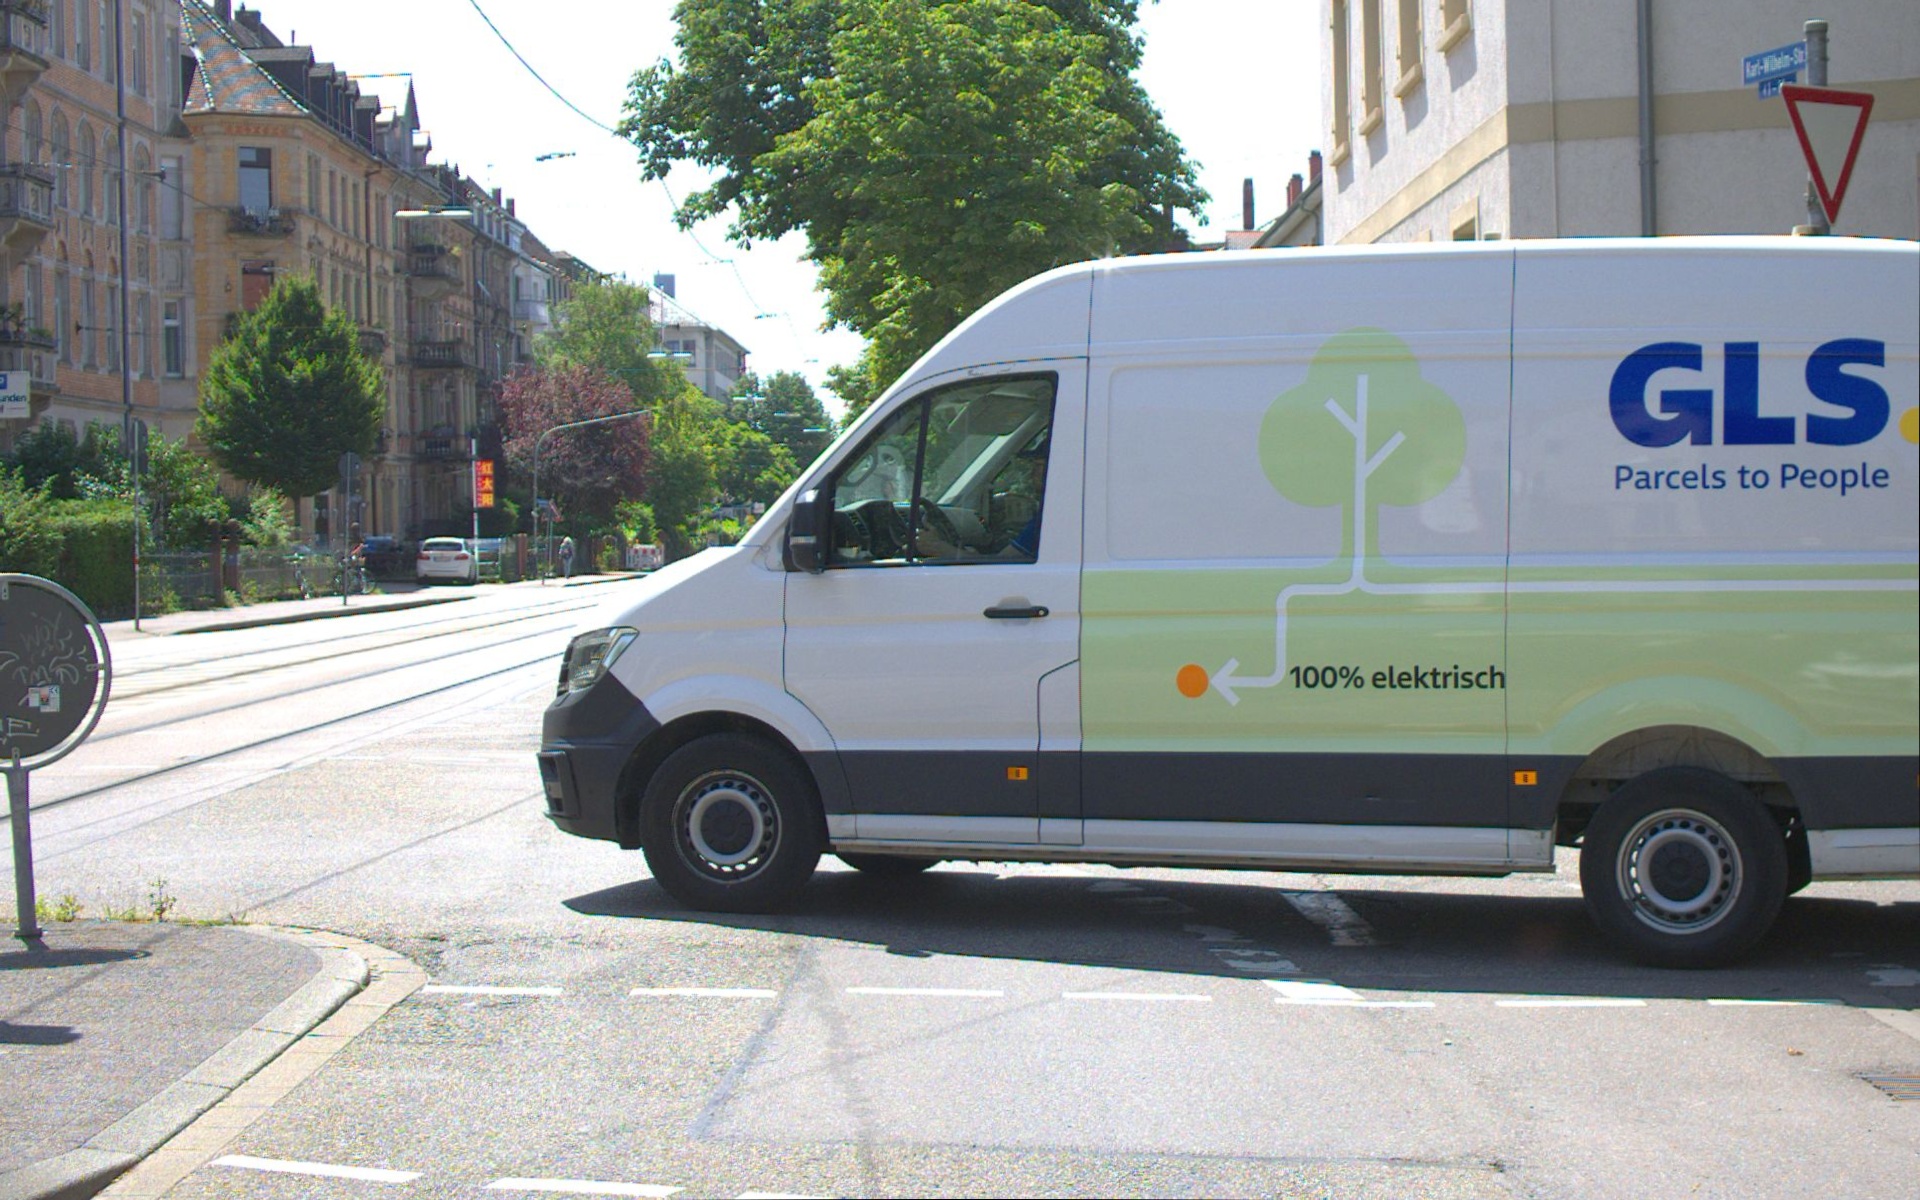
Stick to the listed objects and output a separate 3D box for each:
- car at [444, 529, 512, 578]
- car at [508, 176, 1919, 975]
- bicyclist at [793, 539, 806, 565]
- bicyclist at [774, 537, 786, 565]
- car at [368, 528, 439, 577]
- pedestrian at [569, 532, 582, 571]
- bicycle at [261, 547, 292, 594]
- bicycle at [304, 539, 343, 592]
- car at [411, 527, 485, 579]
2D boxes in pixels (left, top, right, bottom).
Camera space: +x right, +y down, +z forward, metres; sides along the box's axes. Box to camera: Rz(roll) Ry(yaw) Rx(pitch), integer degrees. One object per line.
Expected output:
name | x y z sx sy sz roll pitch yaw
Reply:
car | -17.345 -1.663 123.826 1.919 1.709 4.000 1 1 -1
car | 1.377 -0.127 13.381 5.815 2.664 2.272 1 0 21
bicyclist | -10.894 -3.254 233.344 0.727 1.812 1.079 1 0 1
bicyclist | -11.611 -3.148 221.857 0.727 1.762 1.079 1 0 1
car | -20.031 -1.701 123.899 1.919 1.709 4.000 1 1 -1
pedestrian | -14.493 -1.846 129.689 0.406 1.456 0.436 -1 1 -1
bicycle | -15.913 -0.701 80.022 0.677 1.061 1.919 -1 1 -11
bicycle | -15.670 -0.851 84.665 0.677 1.274 1.919 -1 1 -3
car | -17.200 -1.578 115.561 1.919 1.709 4.000 1 1 -1
